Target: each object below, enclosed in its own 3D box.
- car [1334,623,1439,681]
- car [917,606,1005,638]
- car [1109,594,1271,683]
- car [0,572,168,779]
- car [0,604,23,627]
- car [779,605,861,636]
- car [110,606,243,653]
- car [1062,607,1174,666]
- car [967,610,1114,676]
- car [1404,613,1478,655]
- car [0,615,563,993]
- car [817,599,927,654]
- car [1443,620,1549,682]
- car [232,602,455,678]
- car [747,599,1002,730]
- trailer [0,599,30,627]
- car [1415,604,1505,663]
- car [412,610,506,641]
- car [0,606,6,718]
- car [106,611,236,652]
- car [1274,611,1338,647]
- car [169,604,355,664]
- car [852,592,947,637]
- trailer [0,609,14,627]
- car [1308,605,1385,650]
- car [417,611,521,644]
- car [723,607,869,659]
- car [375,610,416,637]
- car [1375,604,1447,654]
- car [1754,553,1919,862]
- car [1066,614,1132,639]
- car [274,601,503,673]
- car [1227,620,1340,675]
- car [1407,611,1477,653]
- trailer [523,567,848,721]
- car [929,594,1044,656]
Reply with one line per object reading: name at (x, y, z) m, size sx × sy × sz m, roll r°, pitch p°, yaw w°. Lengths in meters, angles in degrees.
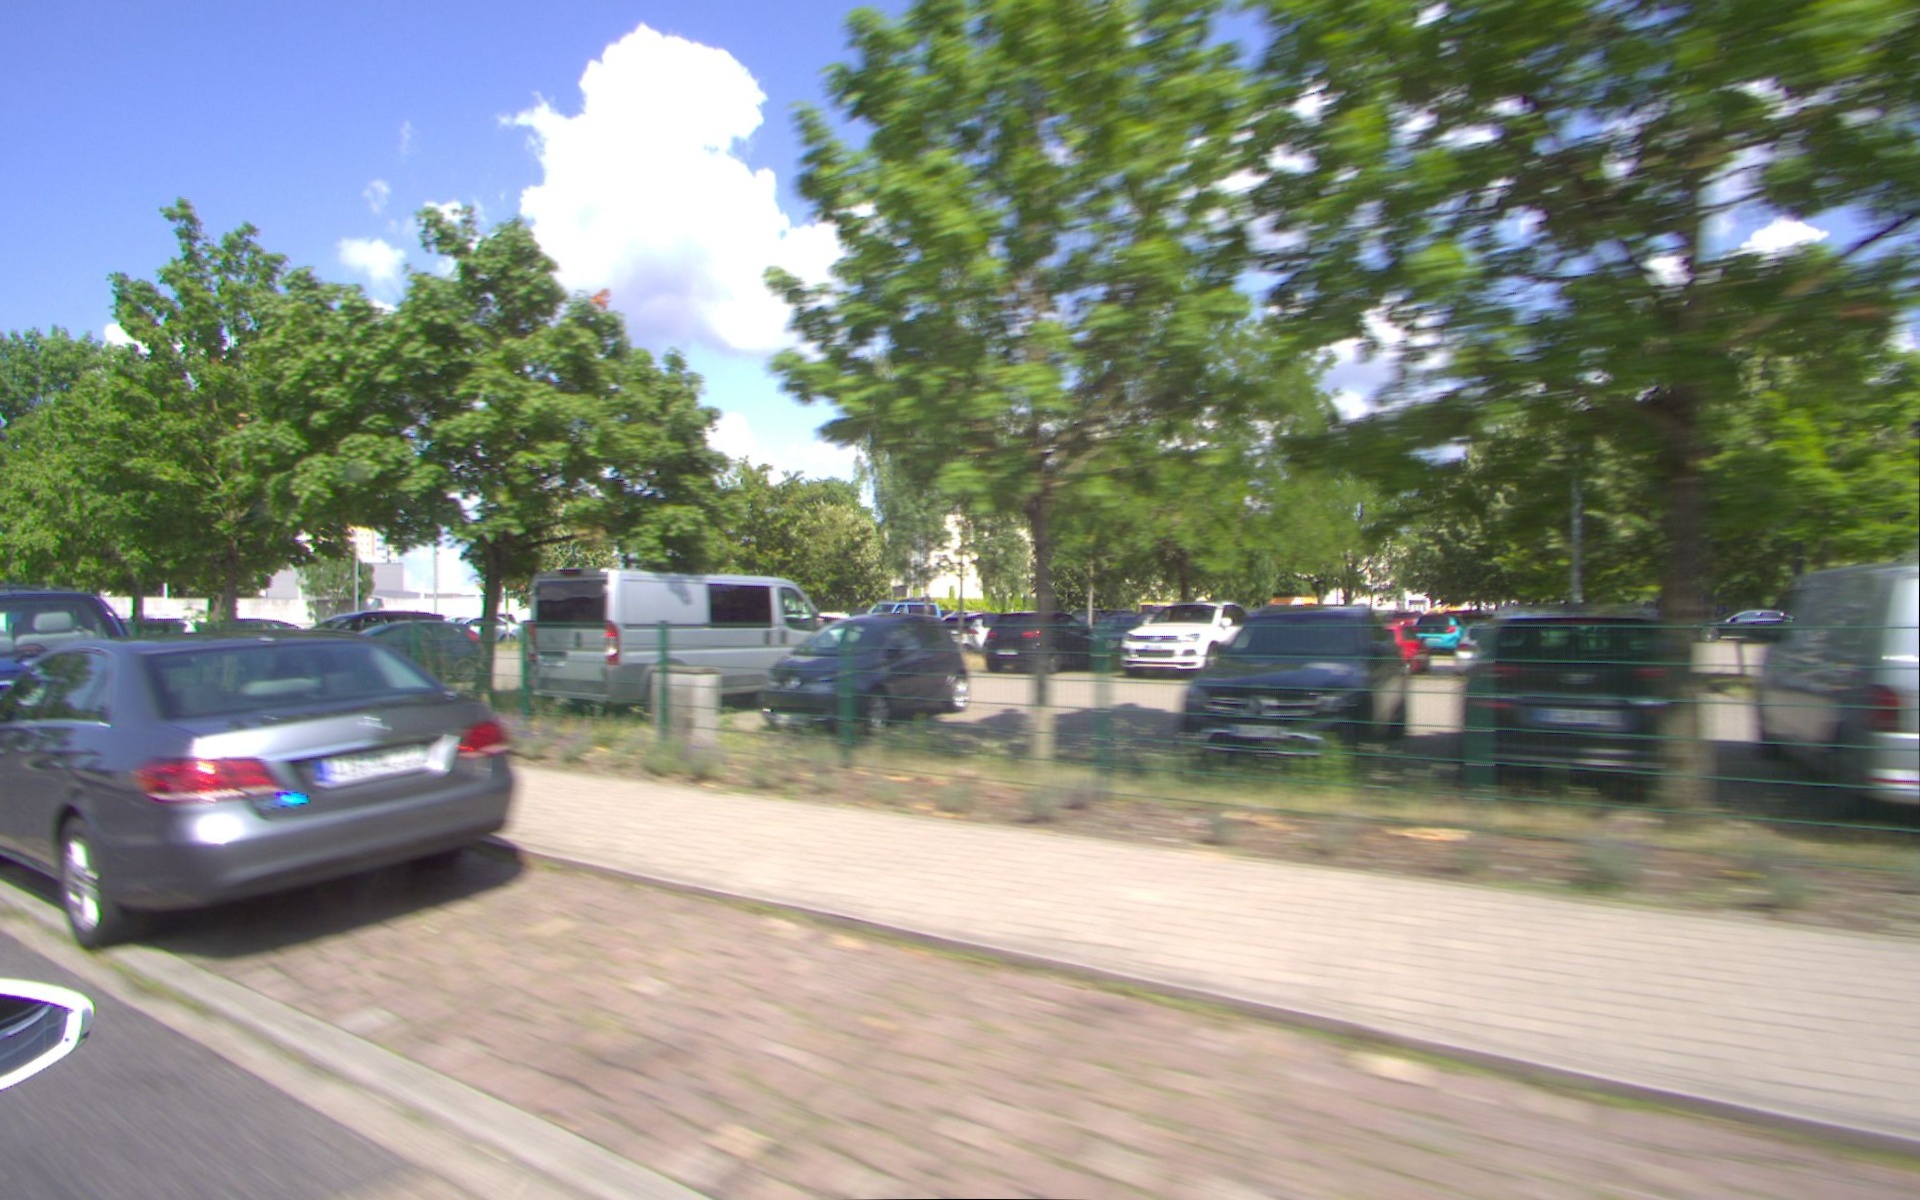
car at (11.136, 1.286, 26.004) m, size 1.696 × 1.392 × 3.975 m, roll -1°, pitch -1°, yaw 36°
car at (0.095, 1.070, 47.871) m, size 1.975 × 1.417 × 4.253 m, roll 0°, pitch -2°, yaw 38°
car at (5.283, 0.788, 22.480) m, size 1.889 × 1.790 × 4.837 m, roll 0°, pitch 0°, yaw 35°
car at (-10.192, 0.683, 10.367) m, size 5.011 × 1.789 × 1.843 m, roll -1°, pitch 1°, yaw 37°
car at (-85.680, 1.376, 89.924) m, size 1.979 × 2.040 × 5.599 m, roll -1°, pitch 0°, yaw -41°
car at (-7.659, 1.158, 54.970) m, size 1.975 × 1.576 × 4.253 m, roll 0°, pitch -2°, yaw 38°
car at (-29.554, 1.070, 37.804) m, size 3.846 × 1.658 × 1.893 m, roll 0°, pitch -1°, yaw -42°
car at (4.940, 1.097, 30.987) m, size 1.833 × 1.687 × 3.975 m, roll -1°, pitch -1°, yaw 36°
car at (2.023, 0.958, 24.108) m, size 1.779 × 1.441 × 3.976 m, roll 0°, pitch 0°, yaw 35°
car at (17.164, 1.186, 35.660) m, size 1.729 × 1.392 × 3.688 m, roll -1°, pitch -1°, yaw 36°
car at (-4.732, 0.866, 6.160) m, size 4.801 × 1.480 × 1.836 m, roll -1°, pitch 1°, yaw 34°
car at (-3.247, 0.993, 37.670) m, size 1.972 × 1.960 × 4.069 m, roll -1°, pitch -1°, yaw 36°
car at (13.324, 1.200, 24.788) m, size 1.814 × 1.392 × 3.975 m, roll -1°, pitch -1°, yaw 36°
car at (-15.086, 0.997, 24.724) m, size 1.832 × 1.692 × 4.314 m, roll -1°, pitch -3°, yaw 36°
car at (-1.109, 0.842, 14.787) m, size 1.670 × 1.657 × 3.977 m, roll 0°, pitch -1°, yaw 34°
trailer at (-98.356, 1.359, 104.065) m, size 2.187 × 2.774 × 6.166 m, roll -4°, pitch 1°, yaw -42°
car at (24.287, 1.653, 48.505) m, size 2.716 × 2.631 × 5.758 m, roll -1°, pitch -3°, yaw 39°
car at (-23.937, 1.201, 47.856) m, size 3.722 × 1.414 × 1.997 m, roll 1°, pitch -1°, yaw -39°
car at (-15.347, 0.879, 14.193) m, size 4.595 × 1.512 × 1.826 m, roll -1°, pitch 1°, yaw 36°
car at (-32.978, 1.287, 41.890) m, size 4.178 × 1.614 × 1.893 m, roll 0°, pitch -1°, yaw -42°
car at (18.521, 1.577, 53.512) m, size 1.976 × 1.792 × 3.972 m, roll -1°, pitch -3°, yaw 39°
car at (-21.074, 0.973, 30.391) m, size 1.740 × 1.643 × 4.301 m, roll -1°, pitch 0°, yaw 36°
car at (-3.036, 0.805, 51.101) m, size 2.085 × 2.130 × 4.909 m, roll -1°, pitch -3°, yaw 39°
trailer at (-79.294, 1.507, 82.456) m, size 4.502 × 1.436 × 1.738 m, roll -2°, pitch 1°, yaw 44°
car at (16.448, 1.200, 42.529) m, size 1.975 × 1.792 × 3.973 m, roll -1°, pitch -3°, yaw 38°
car at (-22.331, 1.220, 45.570) m, size 3.970 × 1.414 × 1.829 m, roll 1°, pitch -1°, yaw -39°
car at (-4.871, 0.975, 30.050) m, size 1.711 × 1.456 × 4.136 m, roll 0°, pitch -1°, yaw 44°
car at (-32.423, 1.375, 57.587) m, size 1.971 × 1.487 × 4.248 m, roll 2°, pitch -2°, yaw -29°
car at (22.900, 1.525, 50.725) m, size 2.068 × 2.387 × 5.345 m, roll -1°, pitch -3°, yaw 39°
car at (7.975, 0.698, 7.954) m, size 1.970 × 1.992 × 4.460 m, roll 1°, pitch 1°, yaw 31°
car at (8.303, 1.577, 59.565) m, size 1.975 × 1.417 × 4.253 m, roll 0°, pitch -2°, yaw 38°
car at (-13.072, 0.870, 23.142) m, size 1.607 × 1.514 × 4.314 m, roll -1°, pitch -3°, yaw 36°
car at (8.978, 1.250, 27.584) m, size 1.833 × 1.392 × 3.975 m, roll -1°, pitch -1°, yaw 36°
car at (17.089, 1.163, 35.458) m, size 1.568 × 1.430 × 3.276 m, roll -1°, pitch -3°, yaw 39°
trailer at (-4.239, 0.643, 16.337) m, size 2.033 × 2.109 × 5.034 m, roll 0°, pitch -1°, yaw 34°
car at (0.954, 0.835, 33.716) m, size 1.972 × 1.960 × 4.069 m, roll -1°, pitch -1°, yaw 36°
